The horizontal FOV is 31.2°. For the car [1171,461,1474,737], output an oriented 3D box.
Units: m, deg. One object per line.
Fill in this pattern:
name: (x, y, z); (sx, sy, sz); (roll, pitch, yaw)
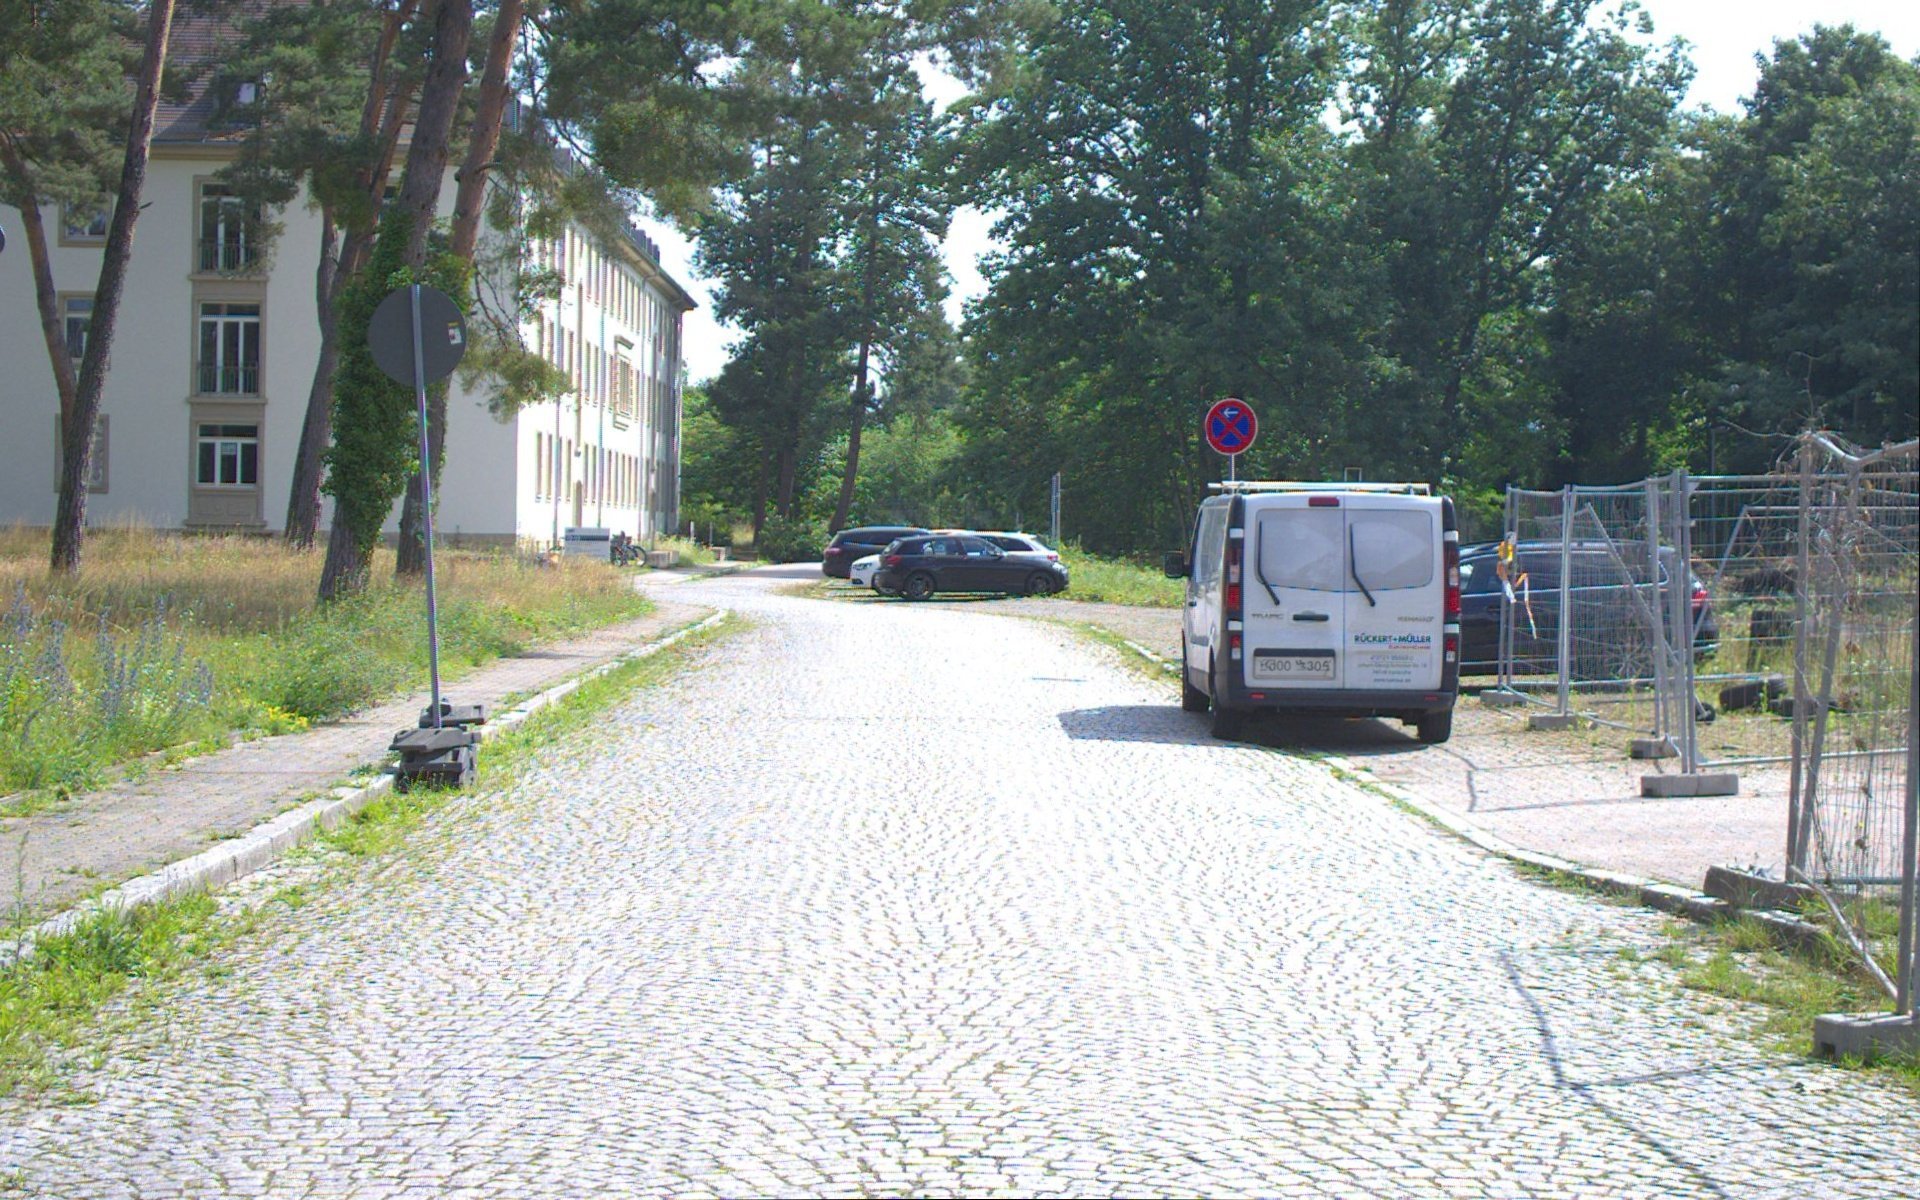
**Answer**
car: (2.895, -0.063, 28.632); (1.914, 2.046, 5.679); (1, 1, 0)

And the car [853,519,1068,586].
car: (-0.018, -1.108, 79.079); (4.861, 1.467, 1.875); (0, 2, -2)

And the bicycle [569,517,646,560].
bicycle: (-10.612, -1.842, 103.425); (2.222, 1.256, 0.623); (1, 1, 2)

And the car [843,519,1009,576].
car: (-0.926, -1.390, 91.735); (4.398, 1.479, 1.766); (0, 1, -2)

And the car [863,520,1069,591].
car: (0.122, -1.004, 75.988); (4.323, 1.495, 1.830); (-1, 2, -9)

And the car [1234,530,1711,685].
car: (5.108, 0.051, 34.594); (4.453, 1.470, 1.746); (-1, 1, -5)

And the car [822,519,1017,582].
car: (-1.042, -1.248, 86.420); (4.852, 1.547, 1.880); (0, 1, -2)
